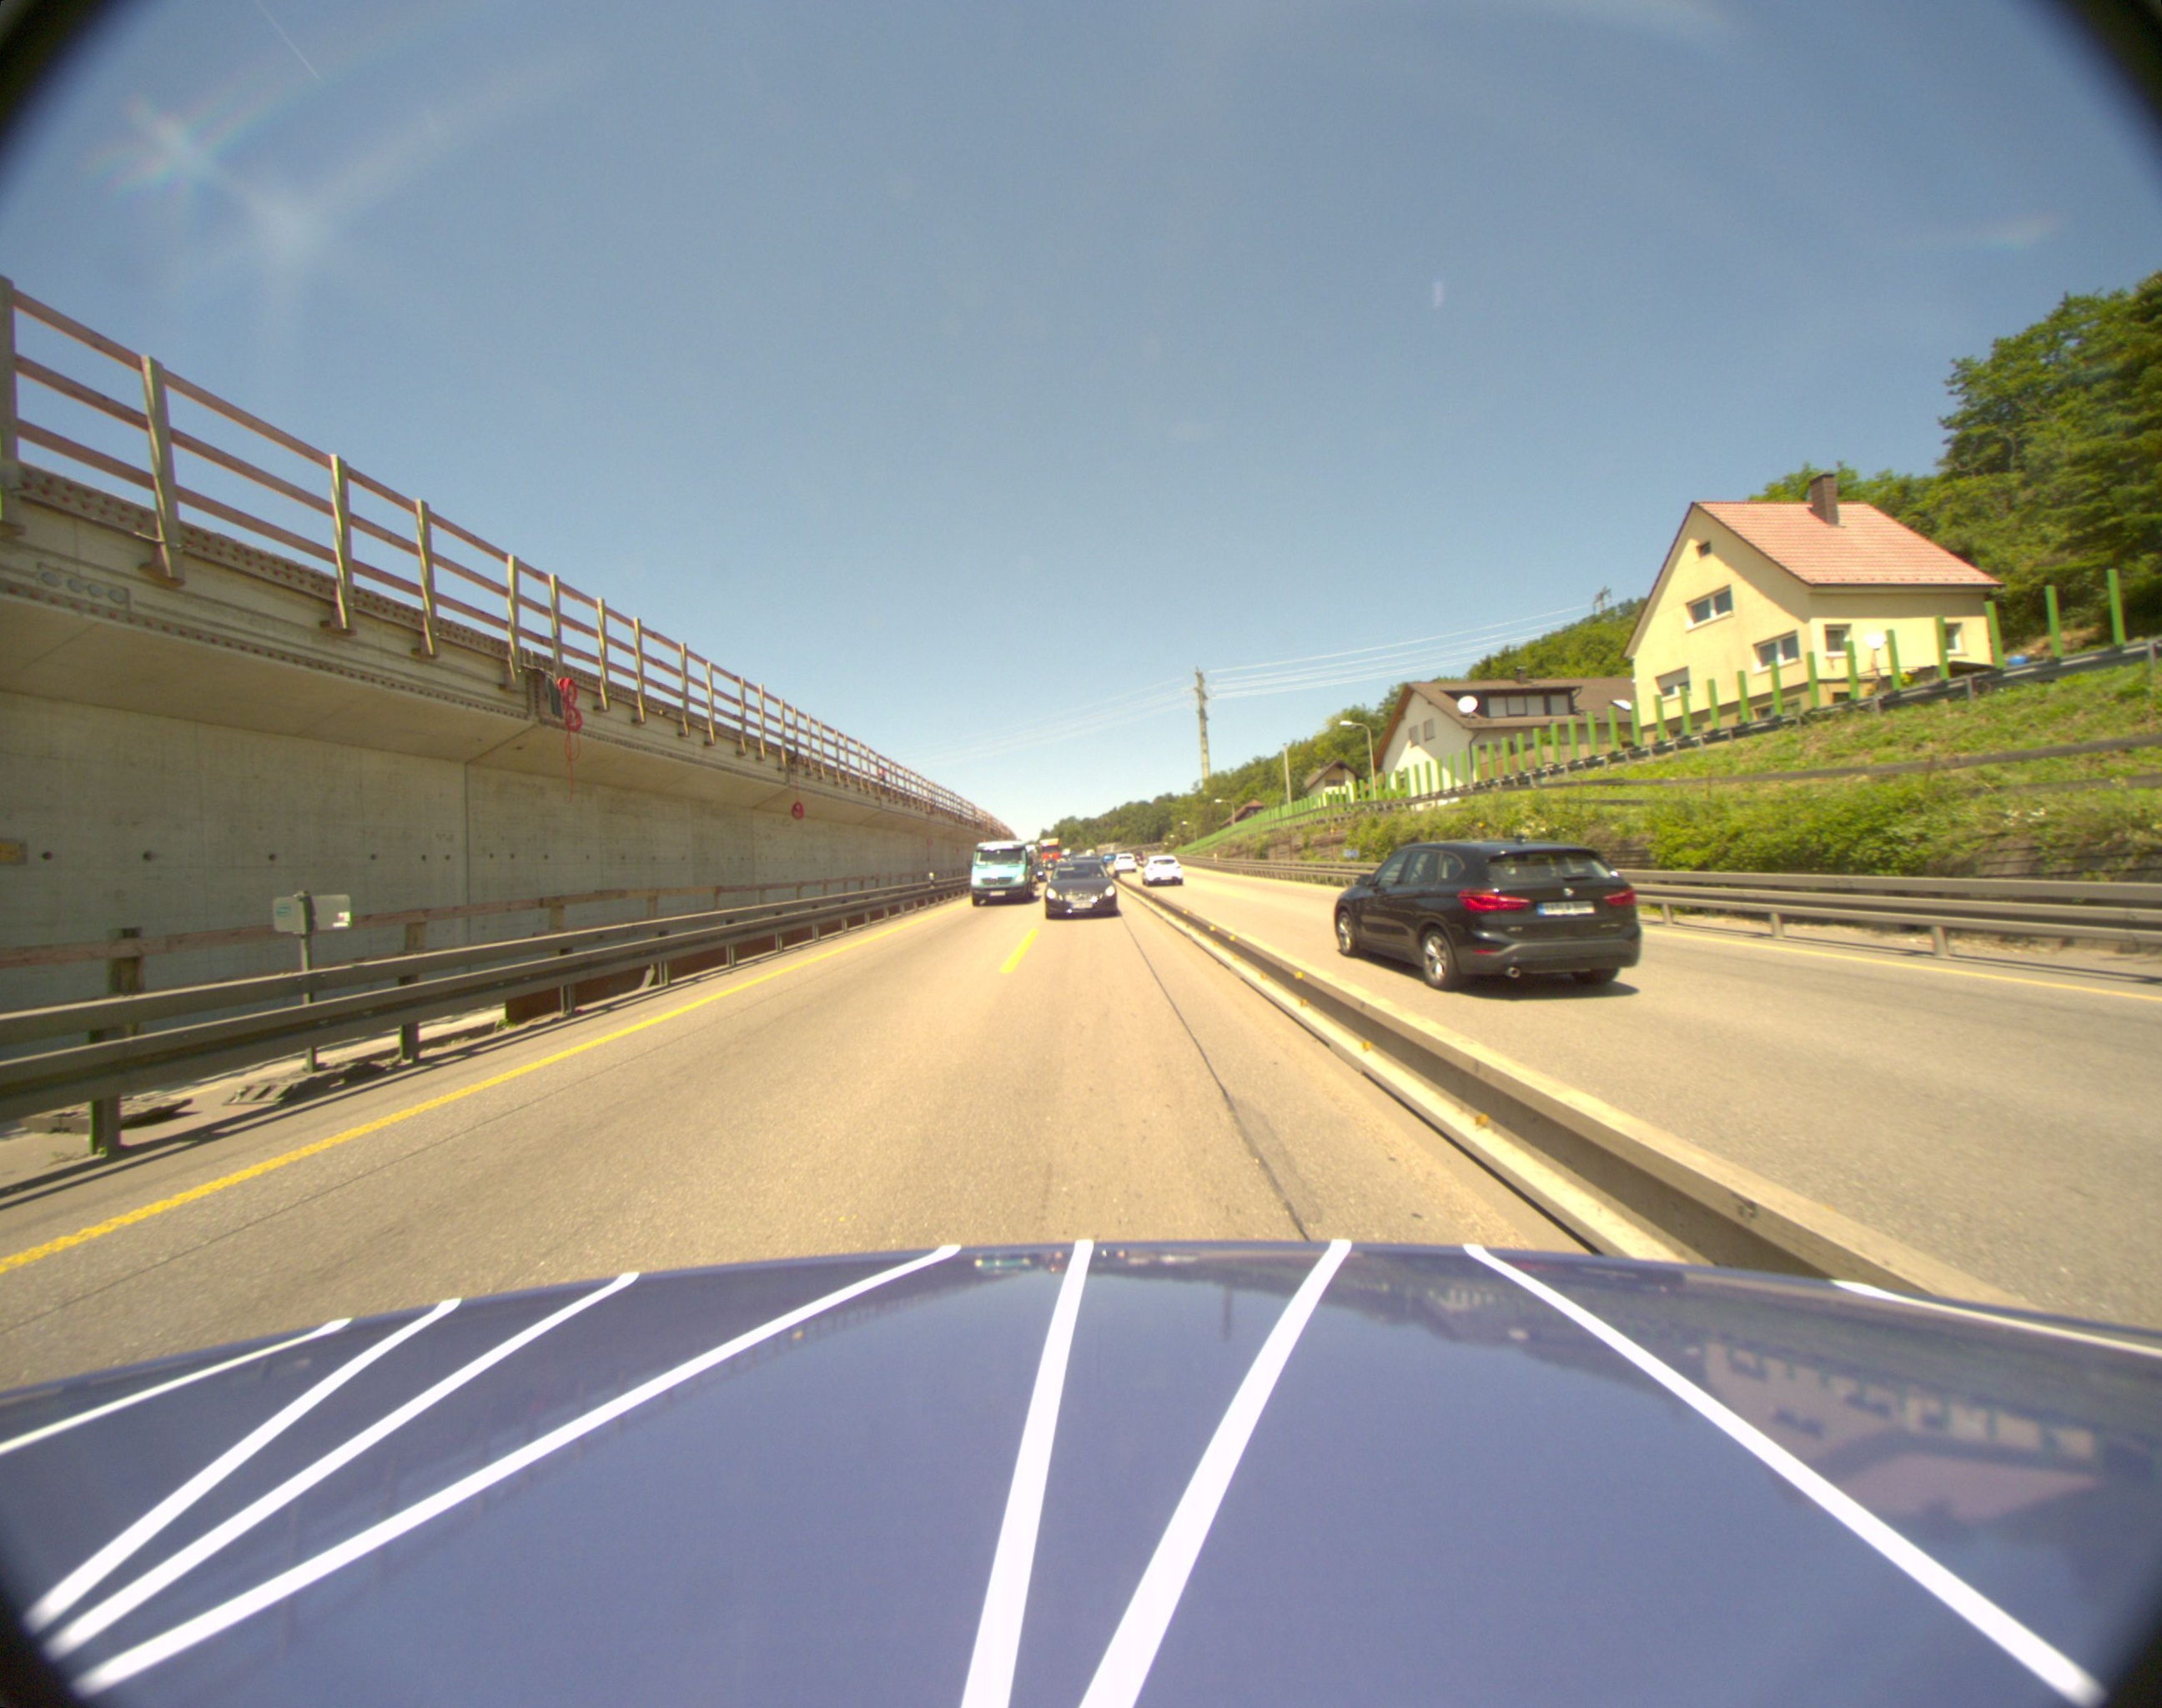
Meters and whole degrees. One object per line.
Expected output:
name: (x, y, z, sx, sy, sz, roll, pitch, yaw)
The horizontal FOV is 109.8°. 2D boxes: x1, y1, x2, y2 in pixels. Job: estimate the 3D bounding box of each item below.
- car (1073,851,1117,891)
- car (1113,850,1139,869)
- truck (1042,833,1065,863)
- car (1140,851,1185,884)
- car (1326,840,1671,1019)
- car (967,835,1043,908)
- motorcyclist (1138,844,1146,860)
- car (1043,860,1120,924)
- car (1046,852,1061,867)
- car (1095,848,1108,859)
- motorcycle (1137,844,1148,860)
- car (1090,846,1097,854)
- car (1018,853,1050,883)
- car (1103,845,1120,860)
car: (0.654, 0.797, 38.269, 1.860, 1.650, 3.998, -6, 1, -2)
car: (3.632, 0.427, 61.673, 1.771, 1.477, 3.865, -2, 0, -1)
truck: (-4.047, -0.884, 110.254, 2.651, 3.978, 11.192, -6, 1, -2)
car: (3.948, 0.624, 37.327, 1.695, 1.477, 3.749, -2, 0, -1)
car: (4.440, 0.683, 8.924, 1.704, 1.552, 4.103, -2, 0, -1)
car: (-2.761, 0.570, 29.423, 1.968, 2.367, 7.209, -4, 1, 1)
motorcyclist: (6.312, -0.212, 78.296, 0.667, 1.576, 0.736, -2, 2, 0)
car: (-0.084, 0.929, 20.401, 1.793, 1.440, 4.296, -2, 0, -3)
car: (-3.361, 0.674, 93.236, 1.674, 1.499, 3.647, -6, 1, 0)
car: (3.319, -0.087, 124.035, 1.847, 1.521, 4.293, -3, 1, 0)
motorcycle: (6.296, -0.225, 78.164, 0.792, 1.542, 2.621, -3, 0, 0)
car: (2.881, -0.992, 174.753, 1.600, 1.823, 4.752, -3, 1, 0)
car: (-3.132, 0.910, 51.403, 1.860, 1.650, 3.999, -6, 1, -1)
car: (3.625, -0.197, 90.265, 1.768, 1.601, 3.891, -2, 0, -1)
